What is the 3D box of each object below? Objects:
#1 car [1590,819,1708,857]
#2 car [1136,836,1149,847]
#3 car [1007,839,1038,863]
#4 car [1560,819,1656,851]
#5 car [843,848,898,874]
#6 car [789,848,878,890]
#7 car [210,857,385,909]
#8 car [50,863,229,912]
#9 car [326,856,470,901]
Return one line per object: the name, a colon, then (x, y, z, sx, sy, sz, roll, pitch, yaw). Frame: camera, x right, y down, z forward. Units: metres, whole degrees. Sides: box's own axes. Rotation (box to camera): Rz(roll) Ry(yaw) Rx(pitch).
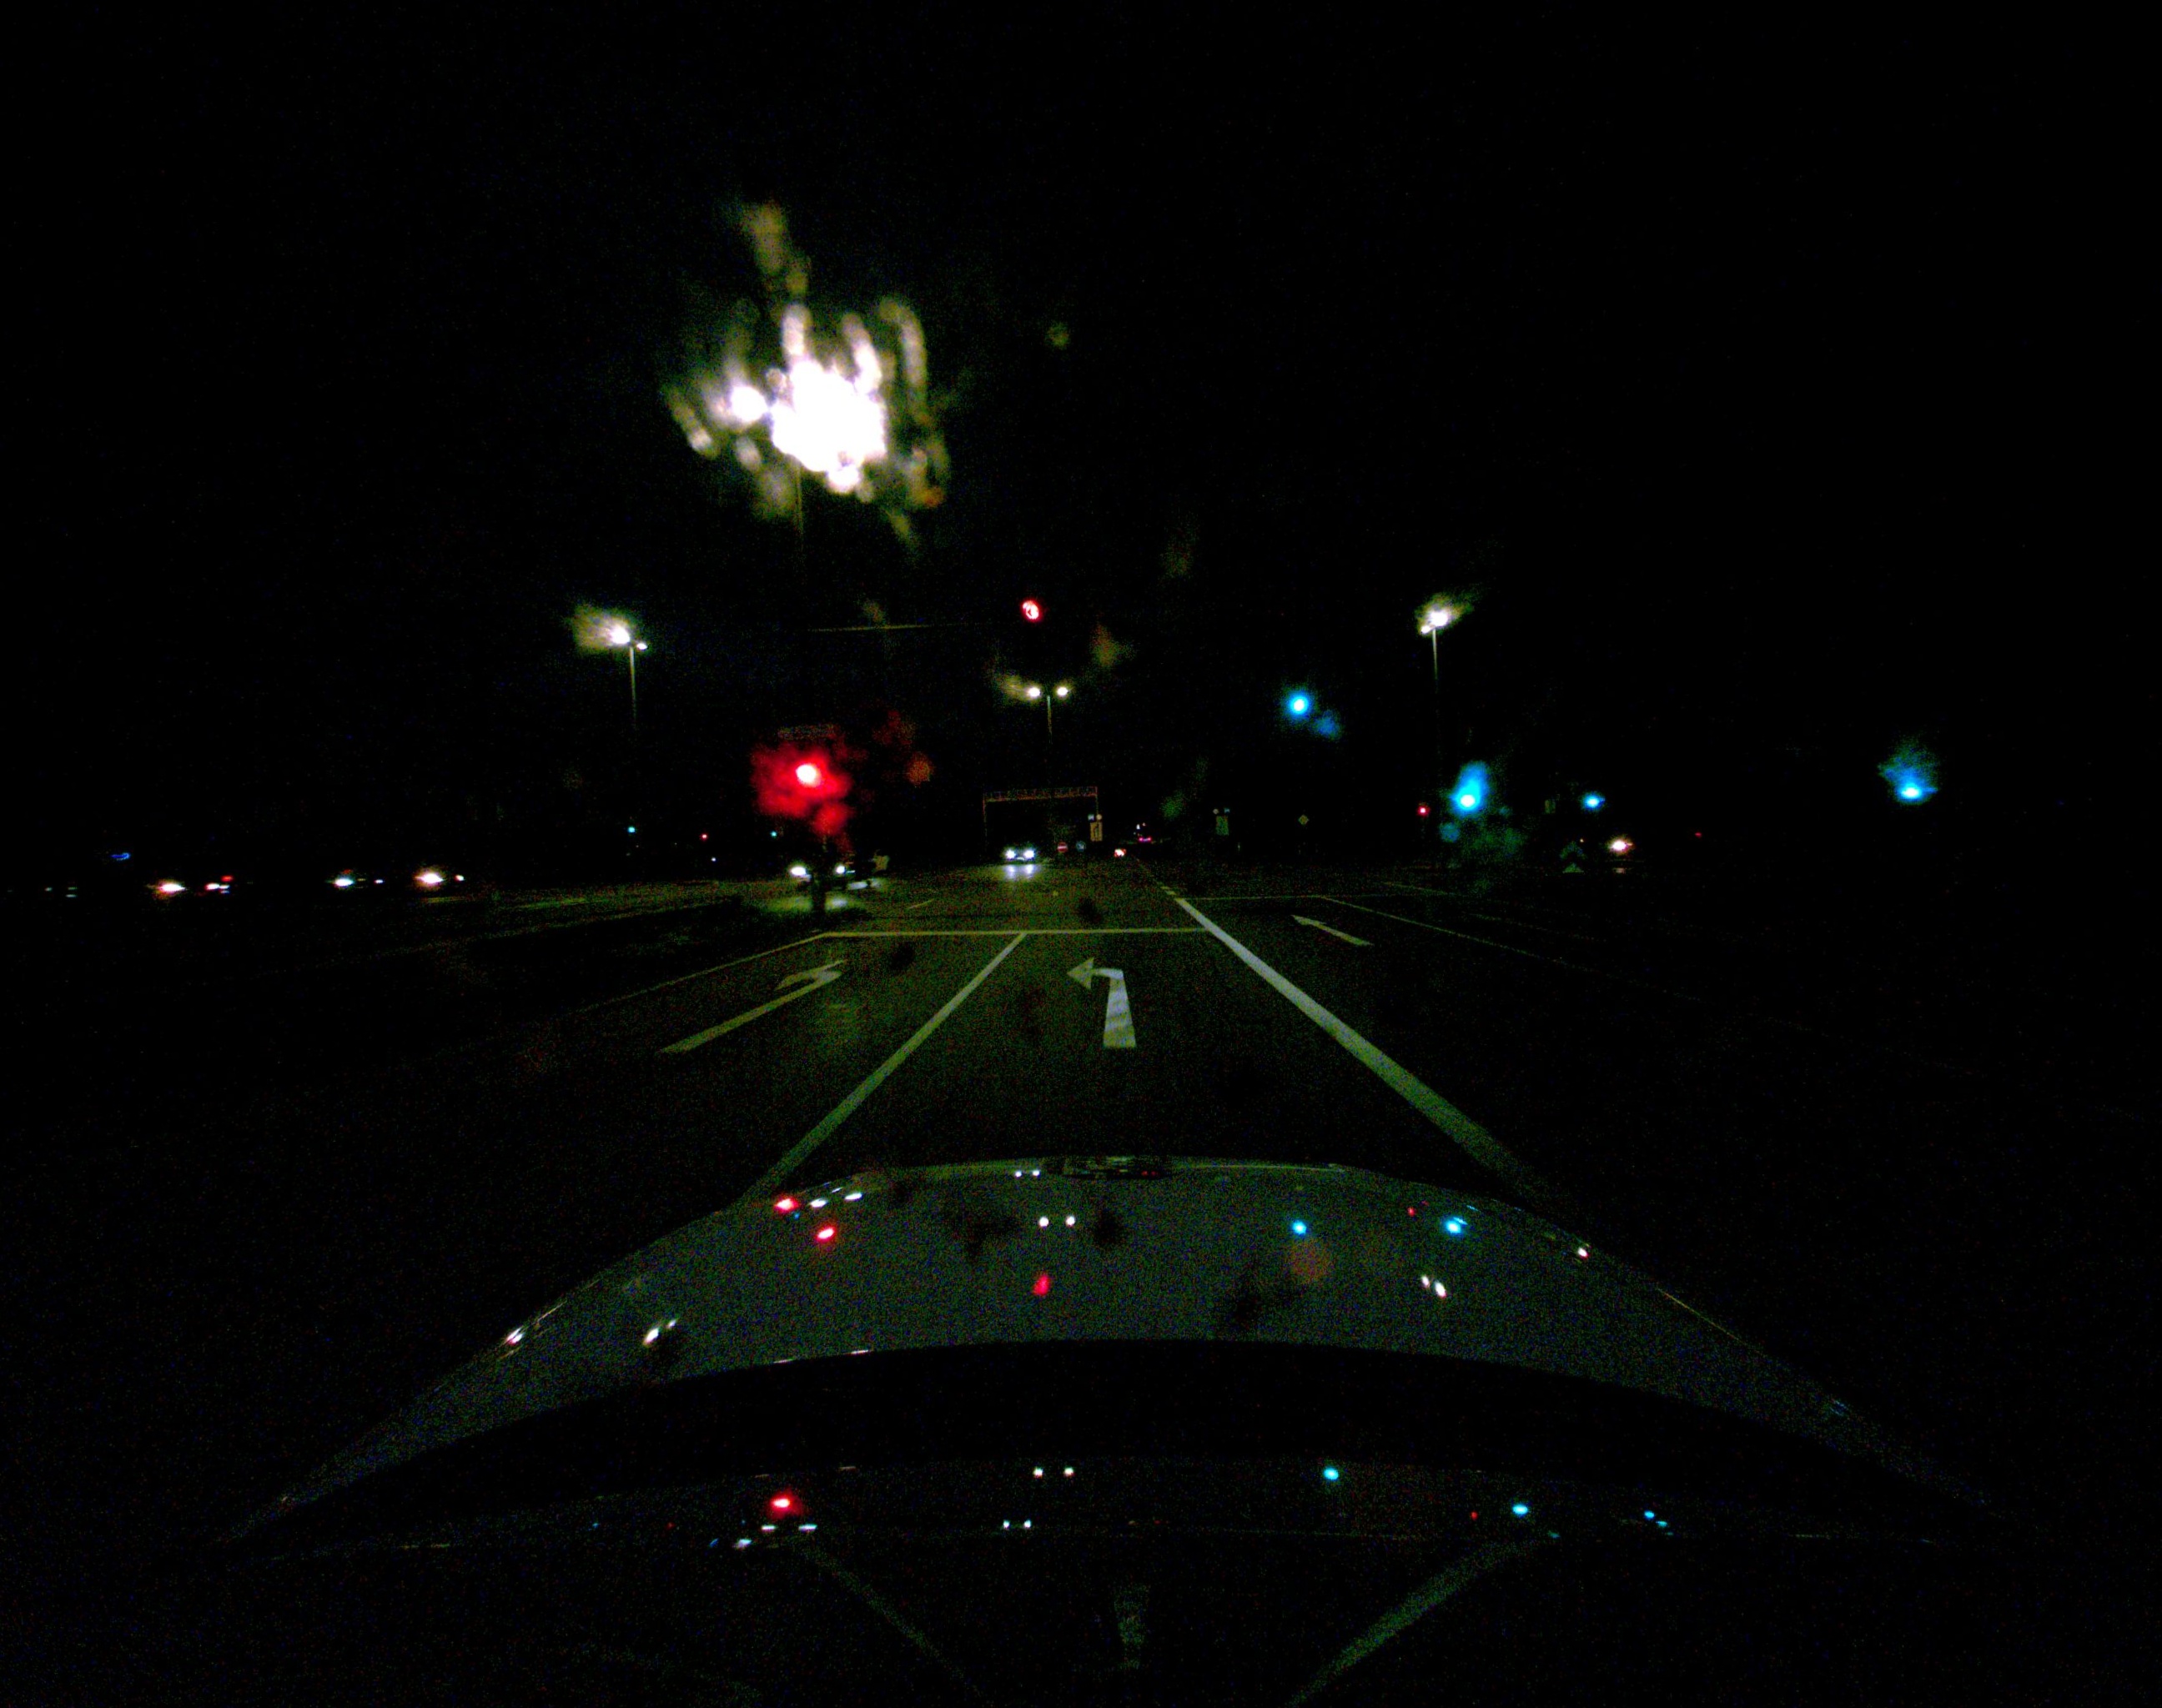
car: (25.969, -0.740, 37.342, 4.062, 1.569, 2.002, -2, 1, -1)
car: (9.617, -1.974, 127.139, 1.998, 1.611, 3.850, -2, 0, 4)
car: (-4.393, -0.246, 61.617, 1.986, 1.698, 4.001, -1, 1, 1)
car: (28.510, -1.016, 44.119, 3.976, 1.569, 1.900, -2, 1, -1)
car: (-12.429, 0.371, 48.389, 1.986, 1.425, 4.533, -1, 1, 1)
car: (-9.736, 0.535, 32.459, 1.986, 1.481, 4.683, -1, 1, 1)
car: (-26.897, 0.974, 28.049, 4.298, 1.537, 1.730, -2, 0, 0)
car: (-32.931, 1.157, 28.586, 3.979, 1.473, 1.727, -2, 0, -4)
car: (-26.510, 0.920, 31.708, 4.029, 1.537, 1.729, -2, 0, -1)
